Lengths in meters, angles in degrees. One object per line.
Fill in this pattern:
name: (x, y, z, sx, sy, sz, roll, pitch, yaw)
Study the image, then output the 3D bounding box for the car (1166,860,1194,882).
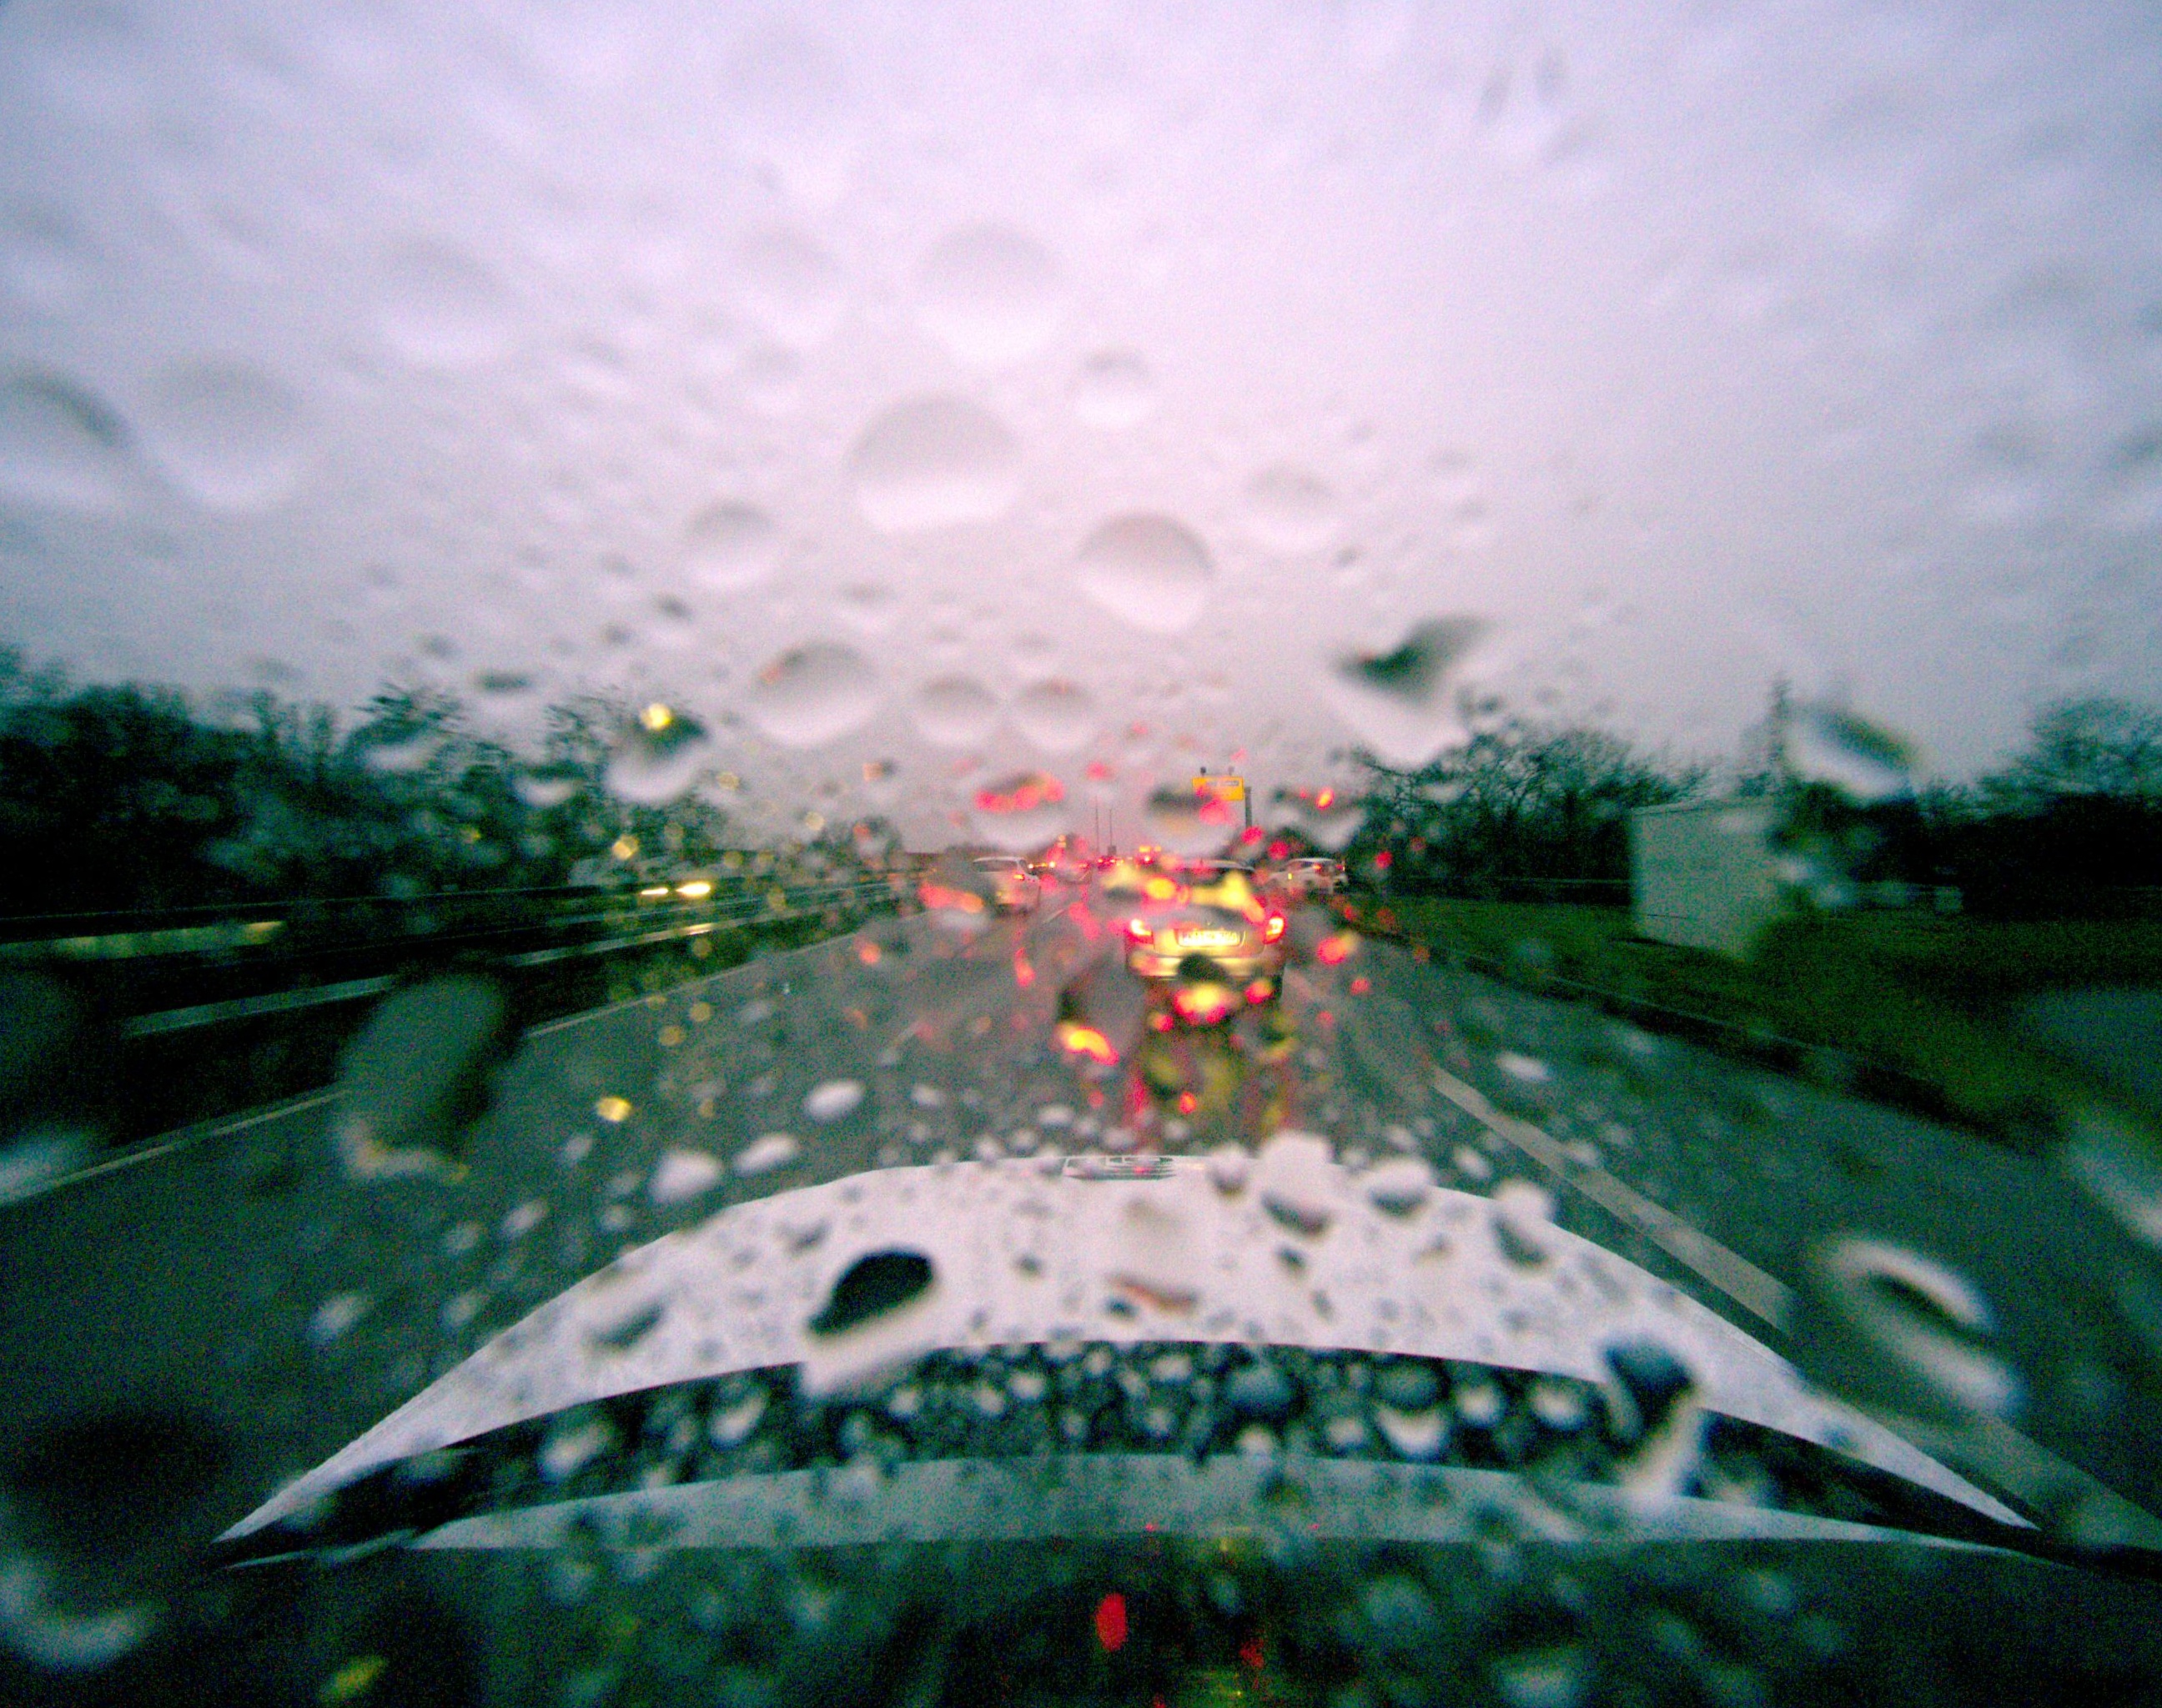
car: (7.714, 1.288, 63.659, 1.783, 1.545, 4.001, -2, 0, 2)

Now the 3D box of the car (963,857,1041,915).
car: (-2.111, 0.813, 22.824, 1.718, 1.440, 4.226, -1, 0, 1)

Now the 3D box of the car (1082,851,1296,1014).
car: (1.155, 0.761, 9.809, 1.985, 1.500, 4.141, -2, -1, 3)

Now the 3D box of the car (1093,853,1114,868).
car: (2.368, 0.694, 86.098, 1.779, 1.545, 4.008, -1, 0, 7)

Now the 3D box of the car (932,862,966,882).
car: (-11.209, 1.514, 69.515, 1.831, 1.562, 4.688, -1, 0, 4)

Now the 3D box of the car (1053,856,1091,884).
car: (-0.484, 0.948, 49.750, 1.985, 1.601, 4.313, 0, 0, 4)

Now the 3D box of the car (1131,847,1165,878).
car: (4.070, 0.483, 50.055, 1.890, 1.767, 4.311, -1, 0, 2)

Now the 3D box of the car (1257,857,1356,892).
car: (9.235, 0.808, 33.719, 2.001, 1.345, 3.972, -1, 0, -21)

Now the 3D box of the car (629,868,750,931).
car: (-13.280, 1.473, 27.964, 1.986, 1.918, 4.288, -1, 0, 1)
